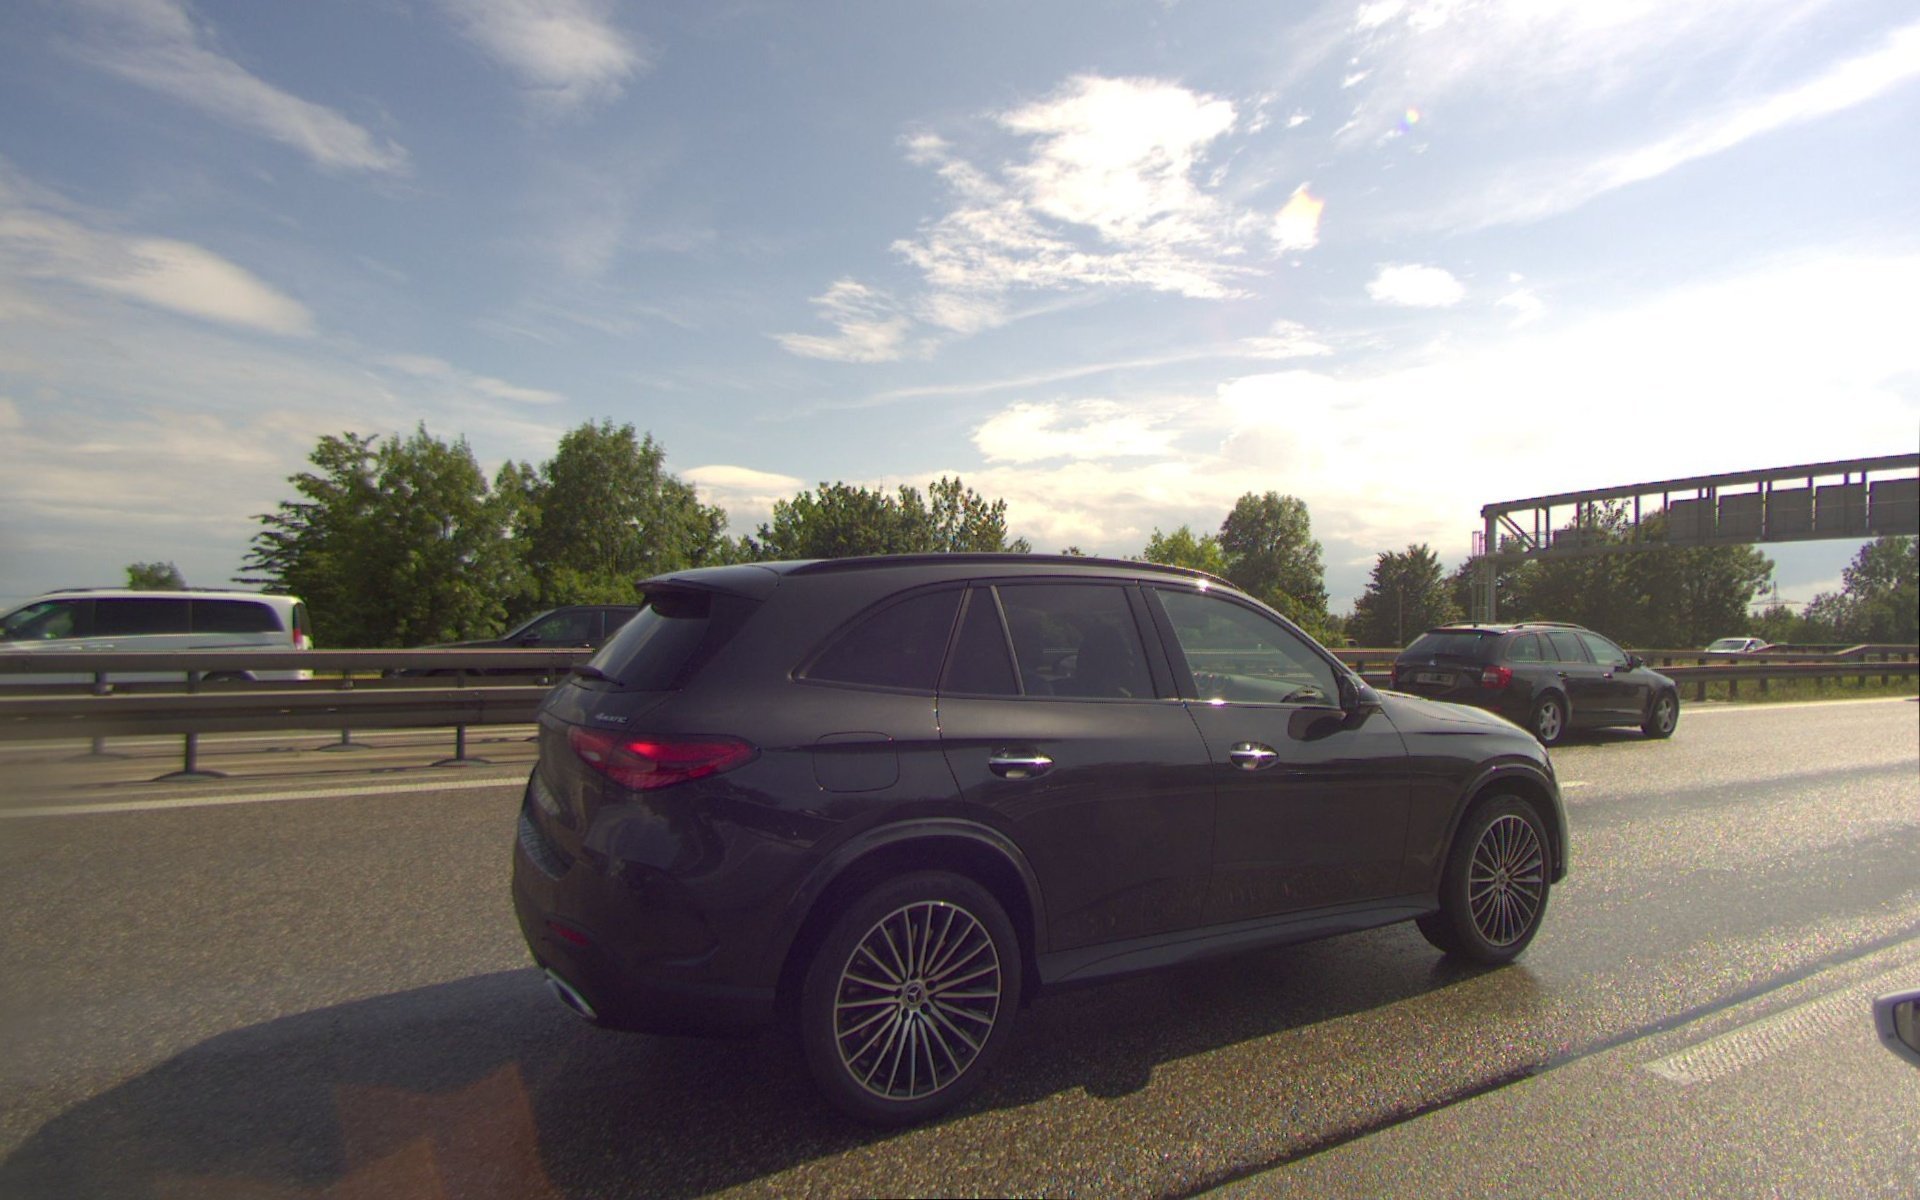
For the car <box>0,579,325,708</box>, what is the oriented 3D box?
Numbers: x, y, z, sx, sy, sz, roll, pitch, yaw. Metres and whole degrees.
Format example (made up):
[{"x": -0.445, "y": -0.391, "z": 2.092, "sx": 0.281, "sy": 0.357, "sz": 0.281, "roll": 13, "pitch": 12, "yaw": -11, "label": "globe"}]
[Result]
[{"x": -12.535, "y": 0.628, "z": 15.136, "sx": 4.887, "sy": 1.757, "sz": 1.984, "roll": 2, "pitch": -1, "yaw": -30, "label": "car"}]

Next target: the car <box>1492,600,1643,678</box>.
[{"x": 16.997, "y": 1.066, "z": 28.094, "sx": 3.953, "sy": 2.040, "sz": 1.984, "roll": 1, "pitch": -1, "yaw": -30, "label": "car"}]

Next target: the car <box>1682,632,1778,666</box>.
[{"x": 36.923, "y": 2.309, "z": 48.131, "sx": 4.982, "sy": 1.506, "sz": 2.105, "roll": 2, "pitch": -1, "yaw": -33, "label": "car"}]

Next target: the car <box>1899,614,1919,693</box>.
[{"x": 23.338, "y": 1.264, "z": 22.799, "sx": 3.955, "sy": 1.743, "sz": 1.983, "roll": 2, "pitch": 0, "yaw": -32, "label": "car"}]

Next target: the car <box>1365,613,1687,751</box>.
[{"x": 7.408, "y": 0.973, "z": 13.071, "sx": 4.158, "sy": 1.537, "sz": 1.749, "roll": 1, "pitch": -1, "yaw": -29, "label": "car"}]

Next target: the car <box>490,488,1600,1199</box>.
[{"x": 0.499, "y": 0.648, "z": 4.265, "sx": 4.354, "sy": 1.683, "sz": 1.984, "roll": 2, "pitch": -1, "yaw": -30, "label": "car"}]
